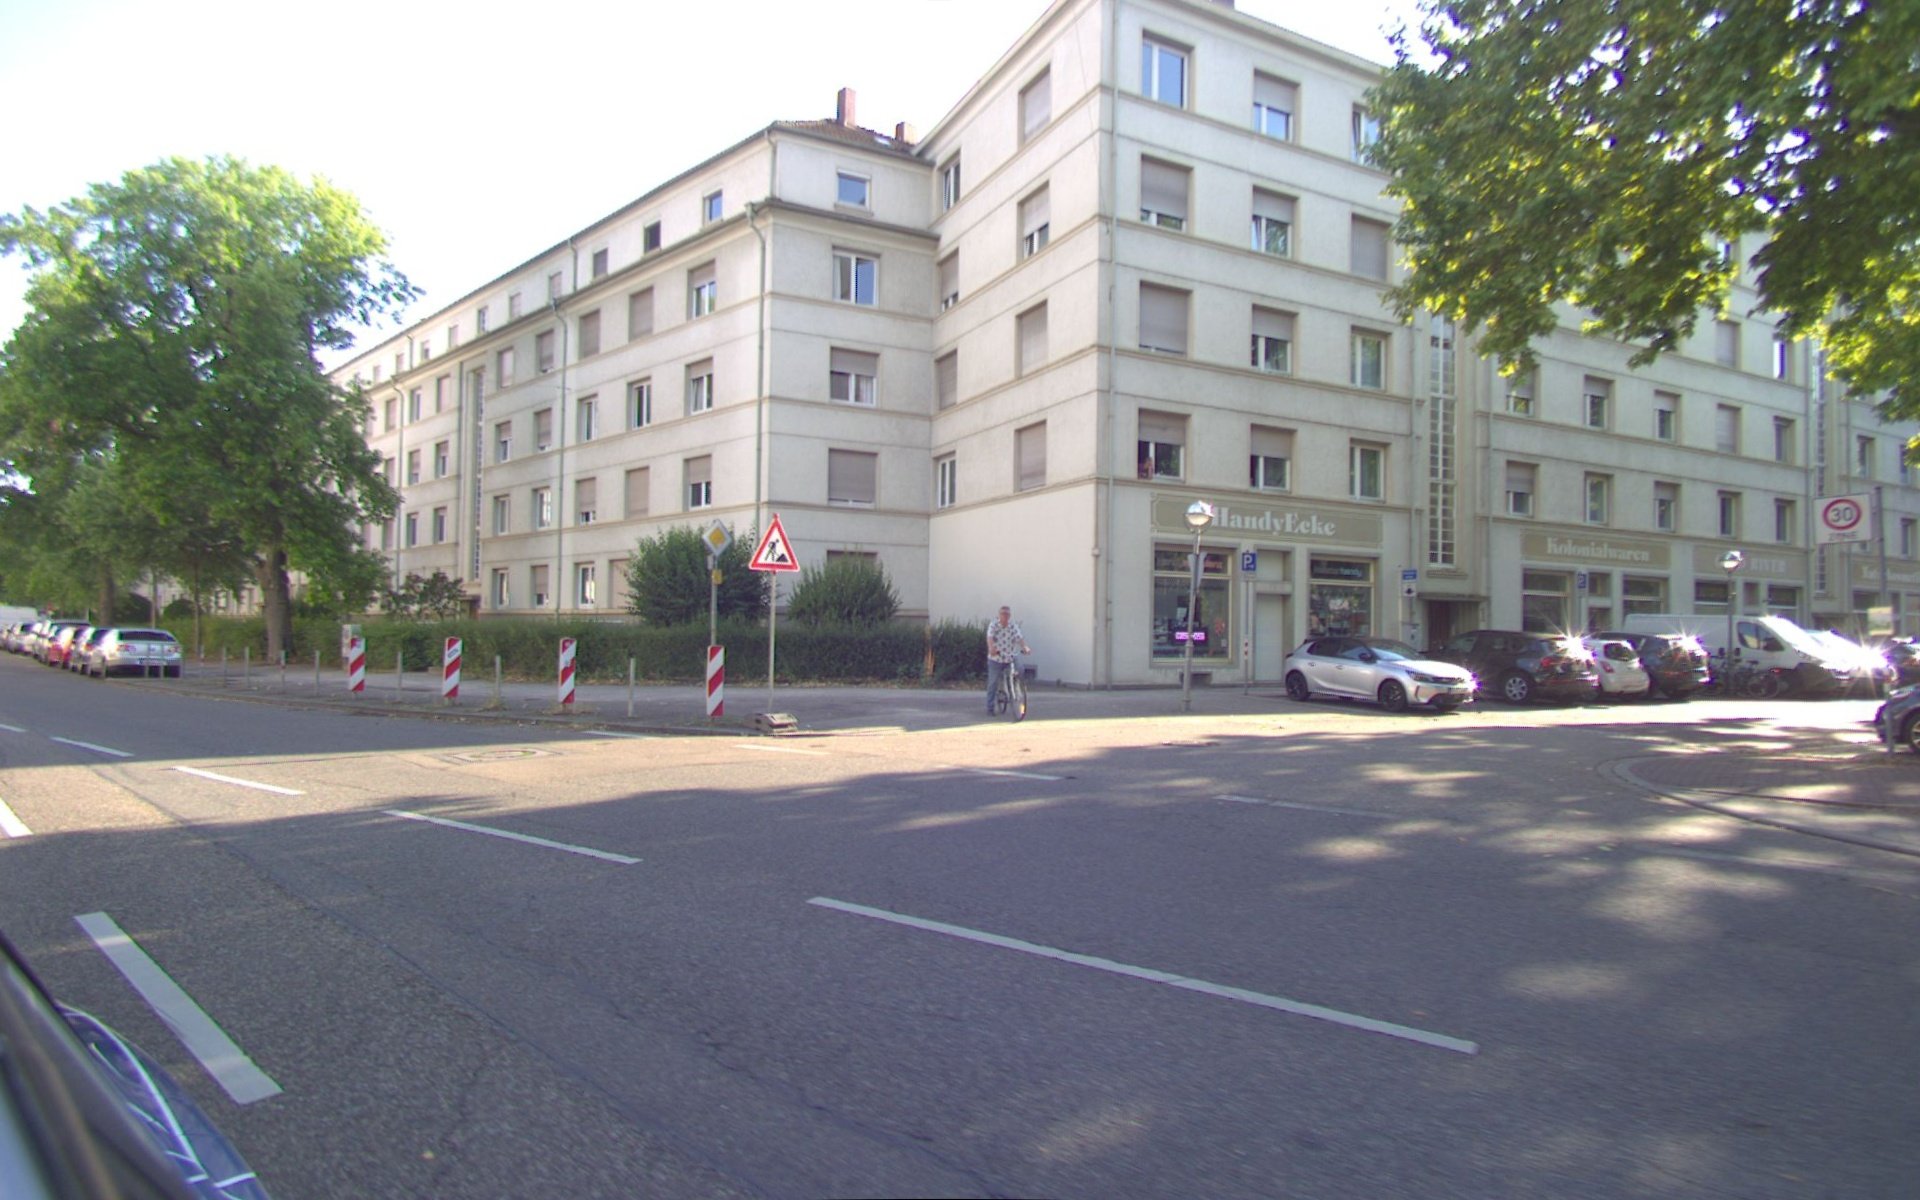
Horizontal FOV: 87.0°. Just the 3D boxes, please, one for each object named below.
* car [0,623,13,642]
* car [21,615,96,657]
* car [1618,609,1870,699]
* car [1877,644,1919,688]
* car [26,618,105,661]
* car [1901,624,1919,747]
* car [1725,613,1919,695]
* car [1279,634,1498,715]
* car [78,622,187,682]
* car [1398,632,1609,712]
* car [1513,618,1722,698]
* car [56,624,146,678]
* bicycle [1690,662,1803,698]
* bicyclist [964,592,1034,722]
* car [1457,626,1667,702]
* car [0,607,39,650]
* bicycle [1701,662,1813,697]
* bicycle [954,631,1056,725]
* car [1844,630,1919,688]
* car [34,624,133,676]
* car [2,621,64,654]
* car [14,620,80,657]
[{"bbox_3d":[-70.107,2.318,73.186,4.650,1.366,1.854,-1,-3,41],"label":"car"},{"bbox_3d":[-38.043,1.500,42.680,4.974,1.690,1.895,-2,-3,43],"label":"car"},{"bbox_3d":[21.210,1.388,27.673,1.627,2.138,5.185,3,-1,-31],"label":"car"},{"bbox_3d":[32.965,2.257,33.238,1.627,1.408,3.891,3,-1,-31],"label":"car"},{"bbox_3d":[-34.639,1.509,39.149,4.497,1.570,1.850,-2,-3,43],"label":"car"},{"bbox_3d":[13.437,1.031,11.486,1.725,1.529,3.661,2,-2,-29],"label":"car"},{"bbox_3d":[25.657,1.514,29.405,1.627,2.152,5.185,3,-1,-31],"label":"car"},{"bbox_3d":[8.657,1.472,20.811,1.626,1.346,4.049,3,-1,-25],"label":"car"},{"bbox_3d":[-23.779,1.424,29.017,4.711,1.362,1.751,0,4,43],"label":"car"},{"bbox_3d":[12.273,1.588,23.151,1.626,1.523,4.049,3,-1,-25],"label":"car"},{"bbox_3d":[16.321,1.386,25.317,1.627,1.740,4.048,3,-1,-31],"label":"car"},{"bbox_3d":[-27.368,1.560,32.207,4.129,1.450,1.685,0,2,43],"label":"car"},{"bbox_3d":[19.765,2.000,25.484,0.578,0.803,2.162,2,-2,-33],"label":"bicycle"},{"bbox_3d":[0.621,0.896,16.403,0.961,2.029,0.799,0,0,-12],"label":"bicyclist"},{"bbox_3d":[14.384,1.491,24.408,1.627,1.559,4.048,3,-1,-31],"label":"car"},{"bbox_3d":[-58.138,1.706,61.707,6.164,2.464,2.333,0,1,42],"label":"car"},{"bbox_3d":[20.214,1.997,25.727,0.578,0.803,2.162,2,-2,-33],"label":"bicycle"},{"bbox_3d":[0.664,1.189,16.150,0.994,1.274,2.490,0,0,-13],"label":"bicycle"},{"bbox_3d":[30.721,1.910,31.966,1.627,1.733,3.891,3,-1,-31],"label":"car"},{"bbox_3d":[-30.726,1.686,35.443,3.995,1.570,1.853,-1,3,39],"label":"car"},{"bbox_3d":[-46.270,1.840,50.463,5.057,1.570,1.850,-2,-3,43],"label":"car"},{"bbox_3d":[-42.258,1.817,46.808,4.100,1.570,1.850,-3,-5,43],"label":"car"}]
